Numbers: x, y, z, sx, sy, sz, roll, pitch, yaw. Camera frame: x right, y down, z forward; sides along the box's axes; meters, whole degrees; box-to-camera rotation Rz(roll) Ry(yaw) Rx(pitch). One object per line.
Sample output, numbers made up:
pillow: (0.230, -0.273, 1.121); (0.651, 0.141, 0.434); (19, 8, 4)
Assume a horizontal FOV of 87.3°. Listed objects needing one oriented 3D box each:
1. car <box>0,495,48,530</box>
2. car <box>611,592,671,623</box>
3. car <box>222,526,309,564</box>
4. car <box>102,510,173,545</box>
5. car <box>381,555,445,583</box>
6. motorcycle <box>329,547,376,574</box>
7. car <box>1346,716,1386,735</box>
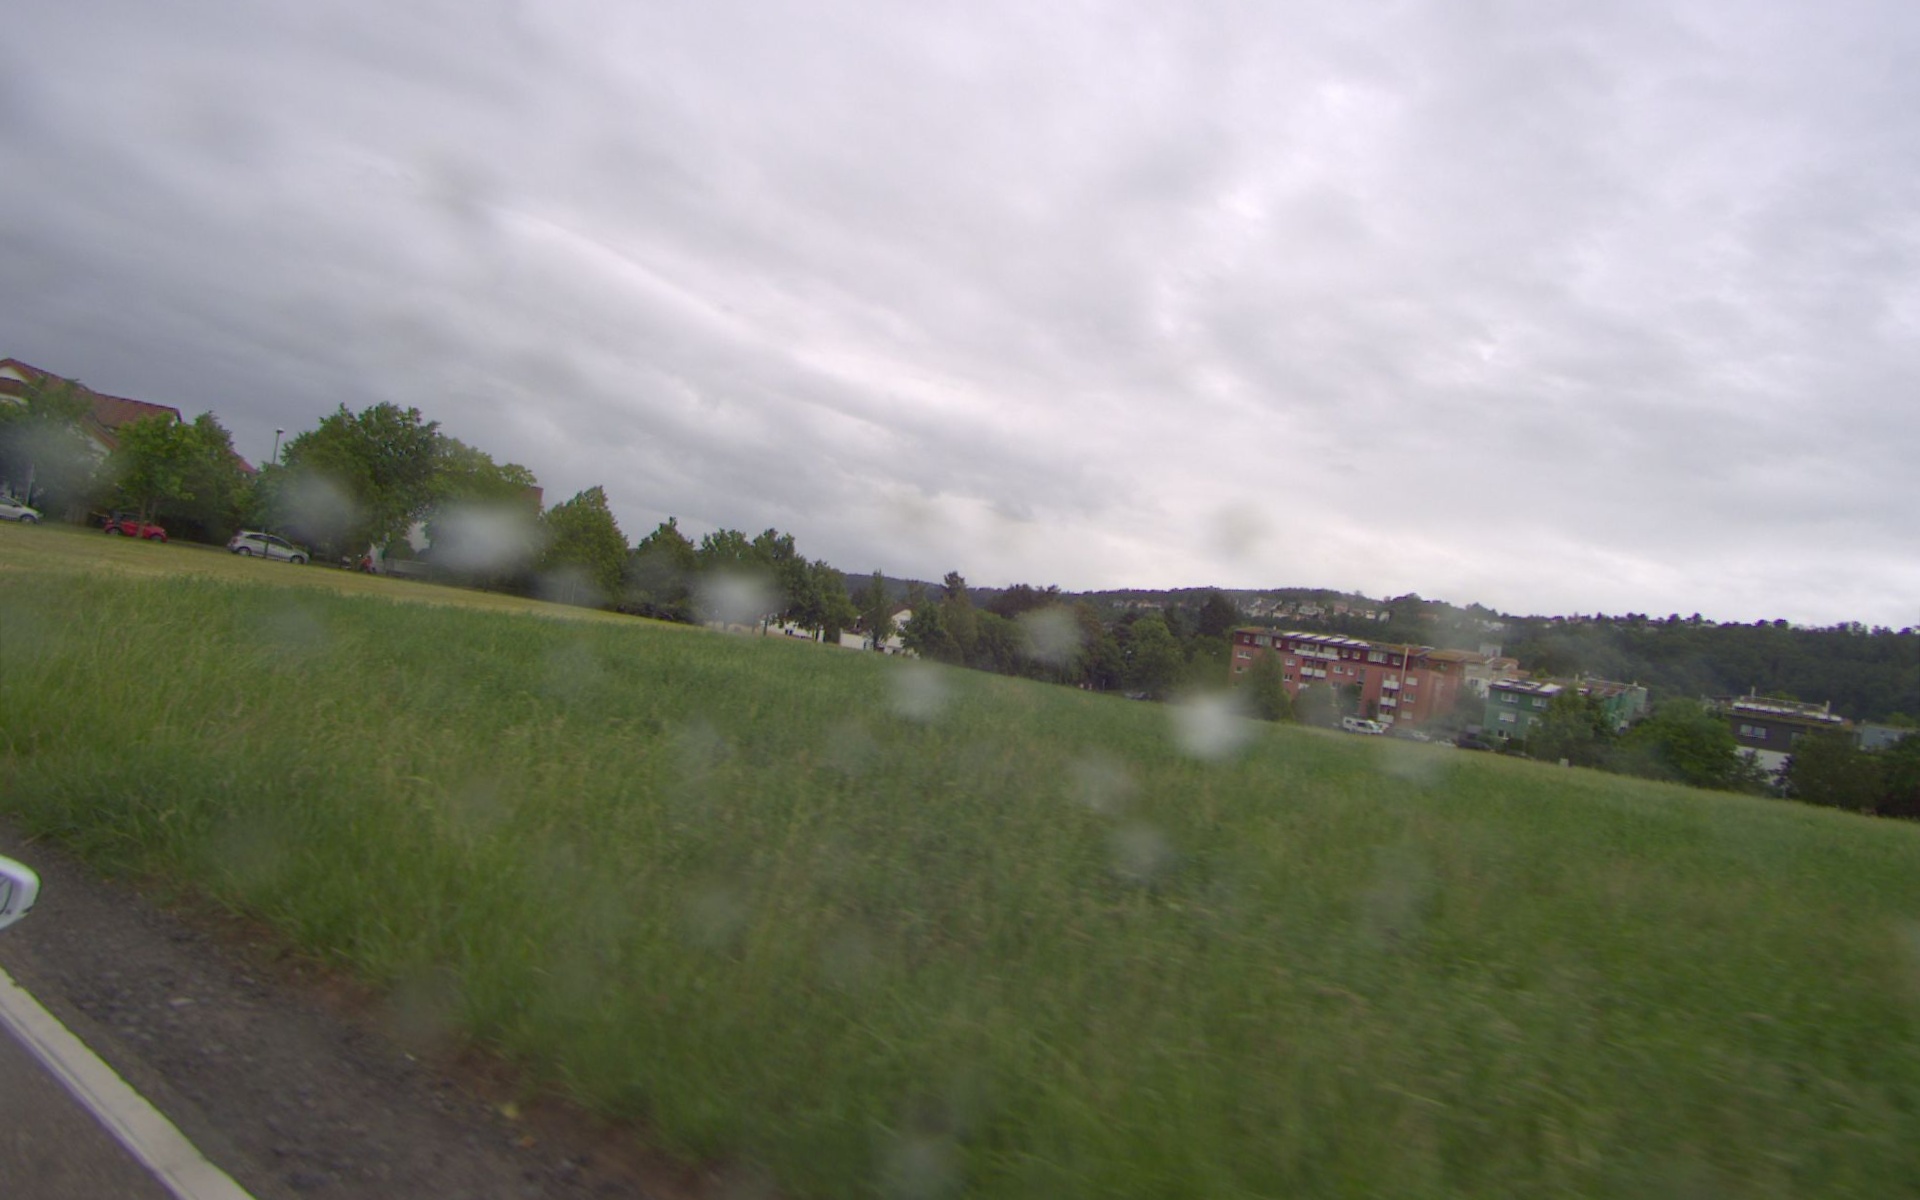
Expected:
car: (-50.783, -4.776, 53.266); (3.530, 1.496, 1.661); (9, -3, -41)
car: (-25.426, 0.607, 80.340); (1.935, 1.623, 3.990); (7, -5, 41)
car: (-42.450, -3.341, 61.526); (1.828, 1.569, 3.973); (6, -4, 44)
car: (-46.684, -4.080, 57.116); (2.993, 1.452, 1.536); (10, -3, -41)
car: (-36.621, -2.050, 67.387); (1.711, 1.295, 3.314); (6, -3, 43)
motorcycle: (-38.917, -2.508, 64.431); (0.958, 1.316, 2.256); (7, -3, 43)
car: (61.754, 19.105, 153.087); (1.987, 2.037, 5.220); (8, -3, -41)
